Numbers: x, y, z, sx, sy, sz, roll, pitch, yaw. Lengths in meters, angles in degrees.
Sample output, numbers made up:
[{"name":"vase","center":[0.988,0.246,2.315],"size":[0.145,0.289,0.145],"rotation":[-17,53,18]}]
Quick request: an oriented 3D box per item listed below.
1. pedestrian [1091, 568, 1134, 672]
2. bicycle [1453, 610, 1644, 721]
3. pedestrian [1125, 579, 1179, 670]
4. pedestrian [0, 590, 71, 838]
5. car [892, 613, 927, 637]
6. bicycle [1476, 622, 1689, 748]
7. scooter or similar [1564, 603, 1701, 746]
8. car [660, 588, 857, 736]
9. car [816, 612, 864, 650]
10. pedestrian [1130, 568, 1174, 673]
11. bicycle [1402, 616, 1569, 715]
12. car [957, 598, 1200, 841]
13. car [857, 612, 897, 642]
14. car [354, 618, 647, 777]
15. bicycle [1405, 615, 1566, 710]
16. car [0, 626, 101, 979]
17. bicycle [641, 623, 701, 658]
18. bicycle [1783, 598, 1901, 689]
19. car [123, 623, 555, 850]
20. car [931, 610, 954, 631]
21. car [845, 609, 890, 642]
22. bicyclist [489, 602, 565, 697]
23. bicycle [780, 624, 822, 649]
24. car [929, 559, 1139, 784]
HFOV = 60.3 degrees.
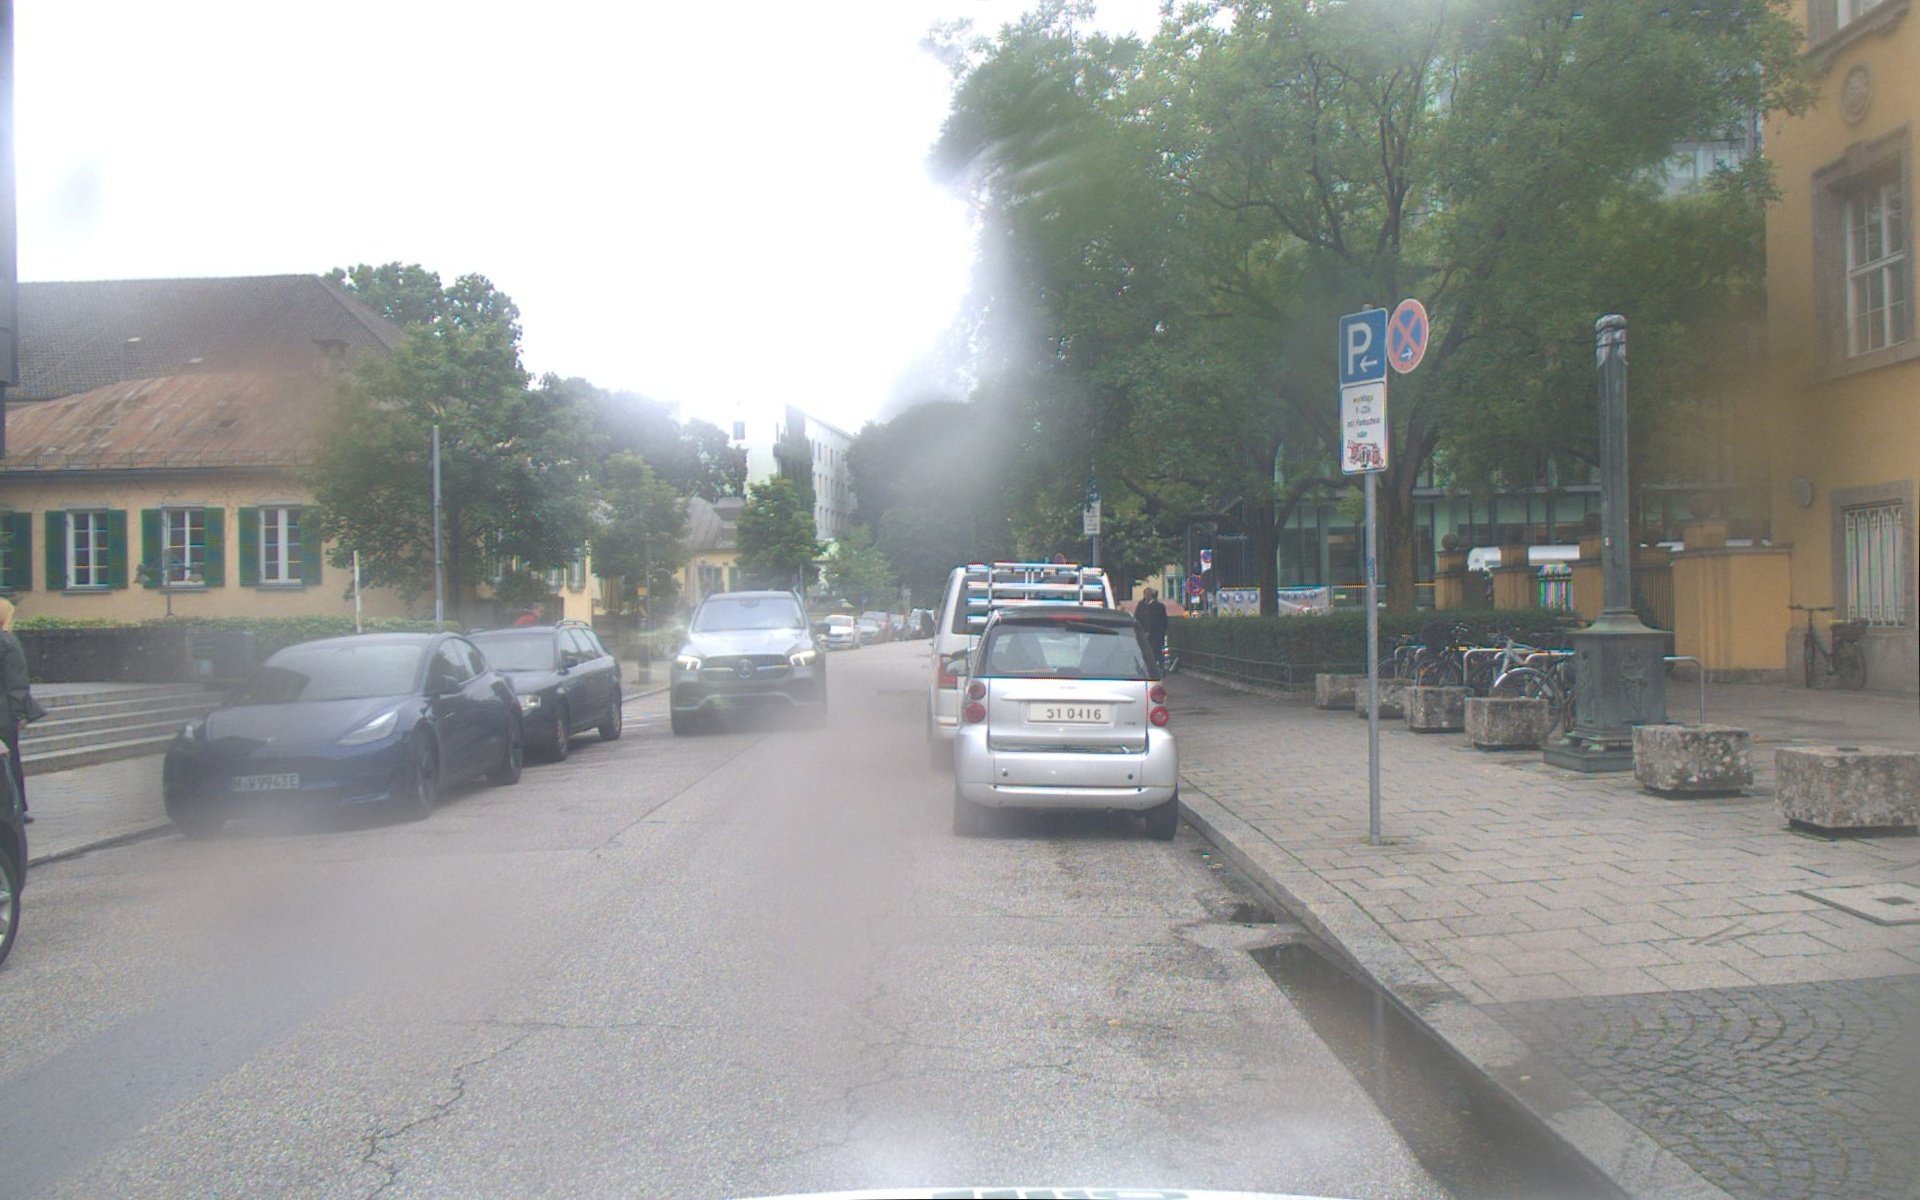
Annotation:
[{"name":"pedestrian","center":[3.246,0.426,35.301],"size":[0.727,2.172,1.055],"rotation":[-2,-1,-1]},{"name":"bicycle","center":[6.482,0.718,18.259],"size":[1.891,1.133,0.471],"rotation":[-2,-1,1]},{"name":"pedestrian","center":[4.217,0.528,36.269],"size":[0.729,1.941,1.052],"rotation":[-2,-1,35]},{"name":"pedestrian","center":[-7.176,0.832,12.351],"size":[0.741,1.780,0.948],"rotation":[-1,-1,-16]},{"name":"car","center":[-3.344,1.639,110.697],"size":[1.952,1.512,4.002],"rotation":[-1,0,4]},{"name":"bicycle","center":[6.126,0.826,16.306],"size":[1.893,1.133,0.471],"rotation":[-2,-1,-4]},{"name":"scooter or similar","center":[6.099,0.668,15.015],"size":[0.995,1.243,0.534],"rotation":[-3,-1,45]},{"name":"car","center":[-2.575,0.753,22.282],"size":[1.983,1.719,4.677],"rotation":[-2,0,1]},{"name":"car","center":[-5.421,1.389,75.159],"size":[1.697,1.609,3.788],"rotation":[2,0,3]},{"name":"pedestrian","center":[4.062,0.436,35.055],"size":[0.727,2.172,1.055],"rotation":[-2,-1,-1]},{"name":"bicycle","center":[6.523,0.811,20.573],"size":[1.891,1.133,0.471],"rotation":[-2,-1,1]},{"name":"car","center":[0.783,0.797,12.387],"size":[1.573,1.573,2.933],"rotation":[1,0,0]},{"name":"car","center":[-4.621,1.529,92.836],"size":[1.952,1.631,4.000],"rotation":[-1,-1,1]},{"name":"car","center":[-5.130,1.015,19.230],"size":[1.953,1.517,4.883],"rotation":[-3,-1,0]},{"name":"bicycle","center":[6.779,0.802,21.367],"size":[1.892,1.133,0.471],"rotation":[-2,-1,1]},{"name":"car","center":[-4.967,0.904,5.673],"size":[1.704,1.486,4.237],"rotation":[-3,0,1]},{"name":"bicycle","center":[-9.737,1.359,55.719],"size":[1.890,1.118,0.615],"rotation":[1,-1,2]},{"name":"bicycle","center":[12.056,0.567,22.677],"size":[0.531,1.174,1.901],"rotation":[-2,0,-2]},{"name":"car","center":[-4.922,0.985,13.971],"size":[1.884,1.464,4.915],"rotation":[-3,-1,-2]},{"name":"car","center":[-1.493,1.738,142.054],"size":[1.773,1.712,4.001],"rotation":[-1,0,2]},{"name":"car","center":[-4.870,1.355,87.754],"size":[1.952,1.677,4.656],"rotation":[-1,0,2]},{"name":"bicyclist","center":[-7.107,0.807,27.157],"size":[1.079,1.524,0.667],"rotation":[0,-2,-29]},{"name":"bicycle","center":[-6.775,1.540,70.633],"size":[0.610,1.022,2.134],"rotation":[1,0,32]},{"name":"car","center":[0.619,0.662,17.487],"size":[1.808,1.967,5.271],"rotation":[2,0,-2]}]
